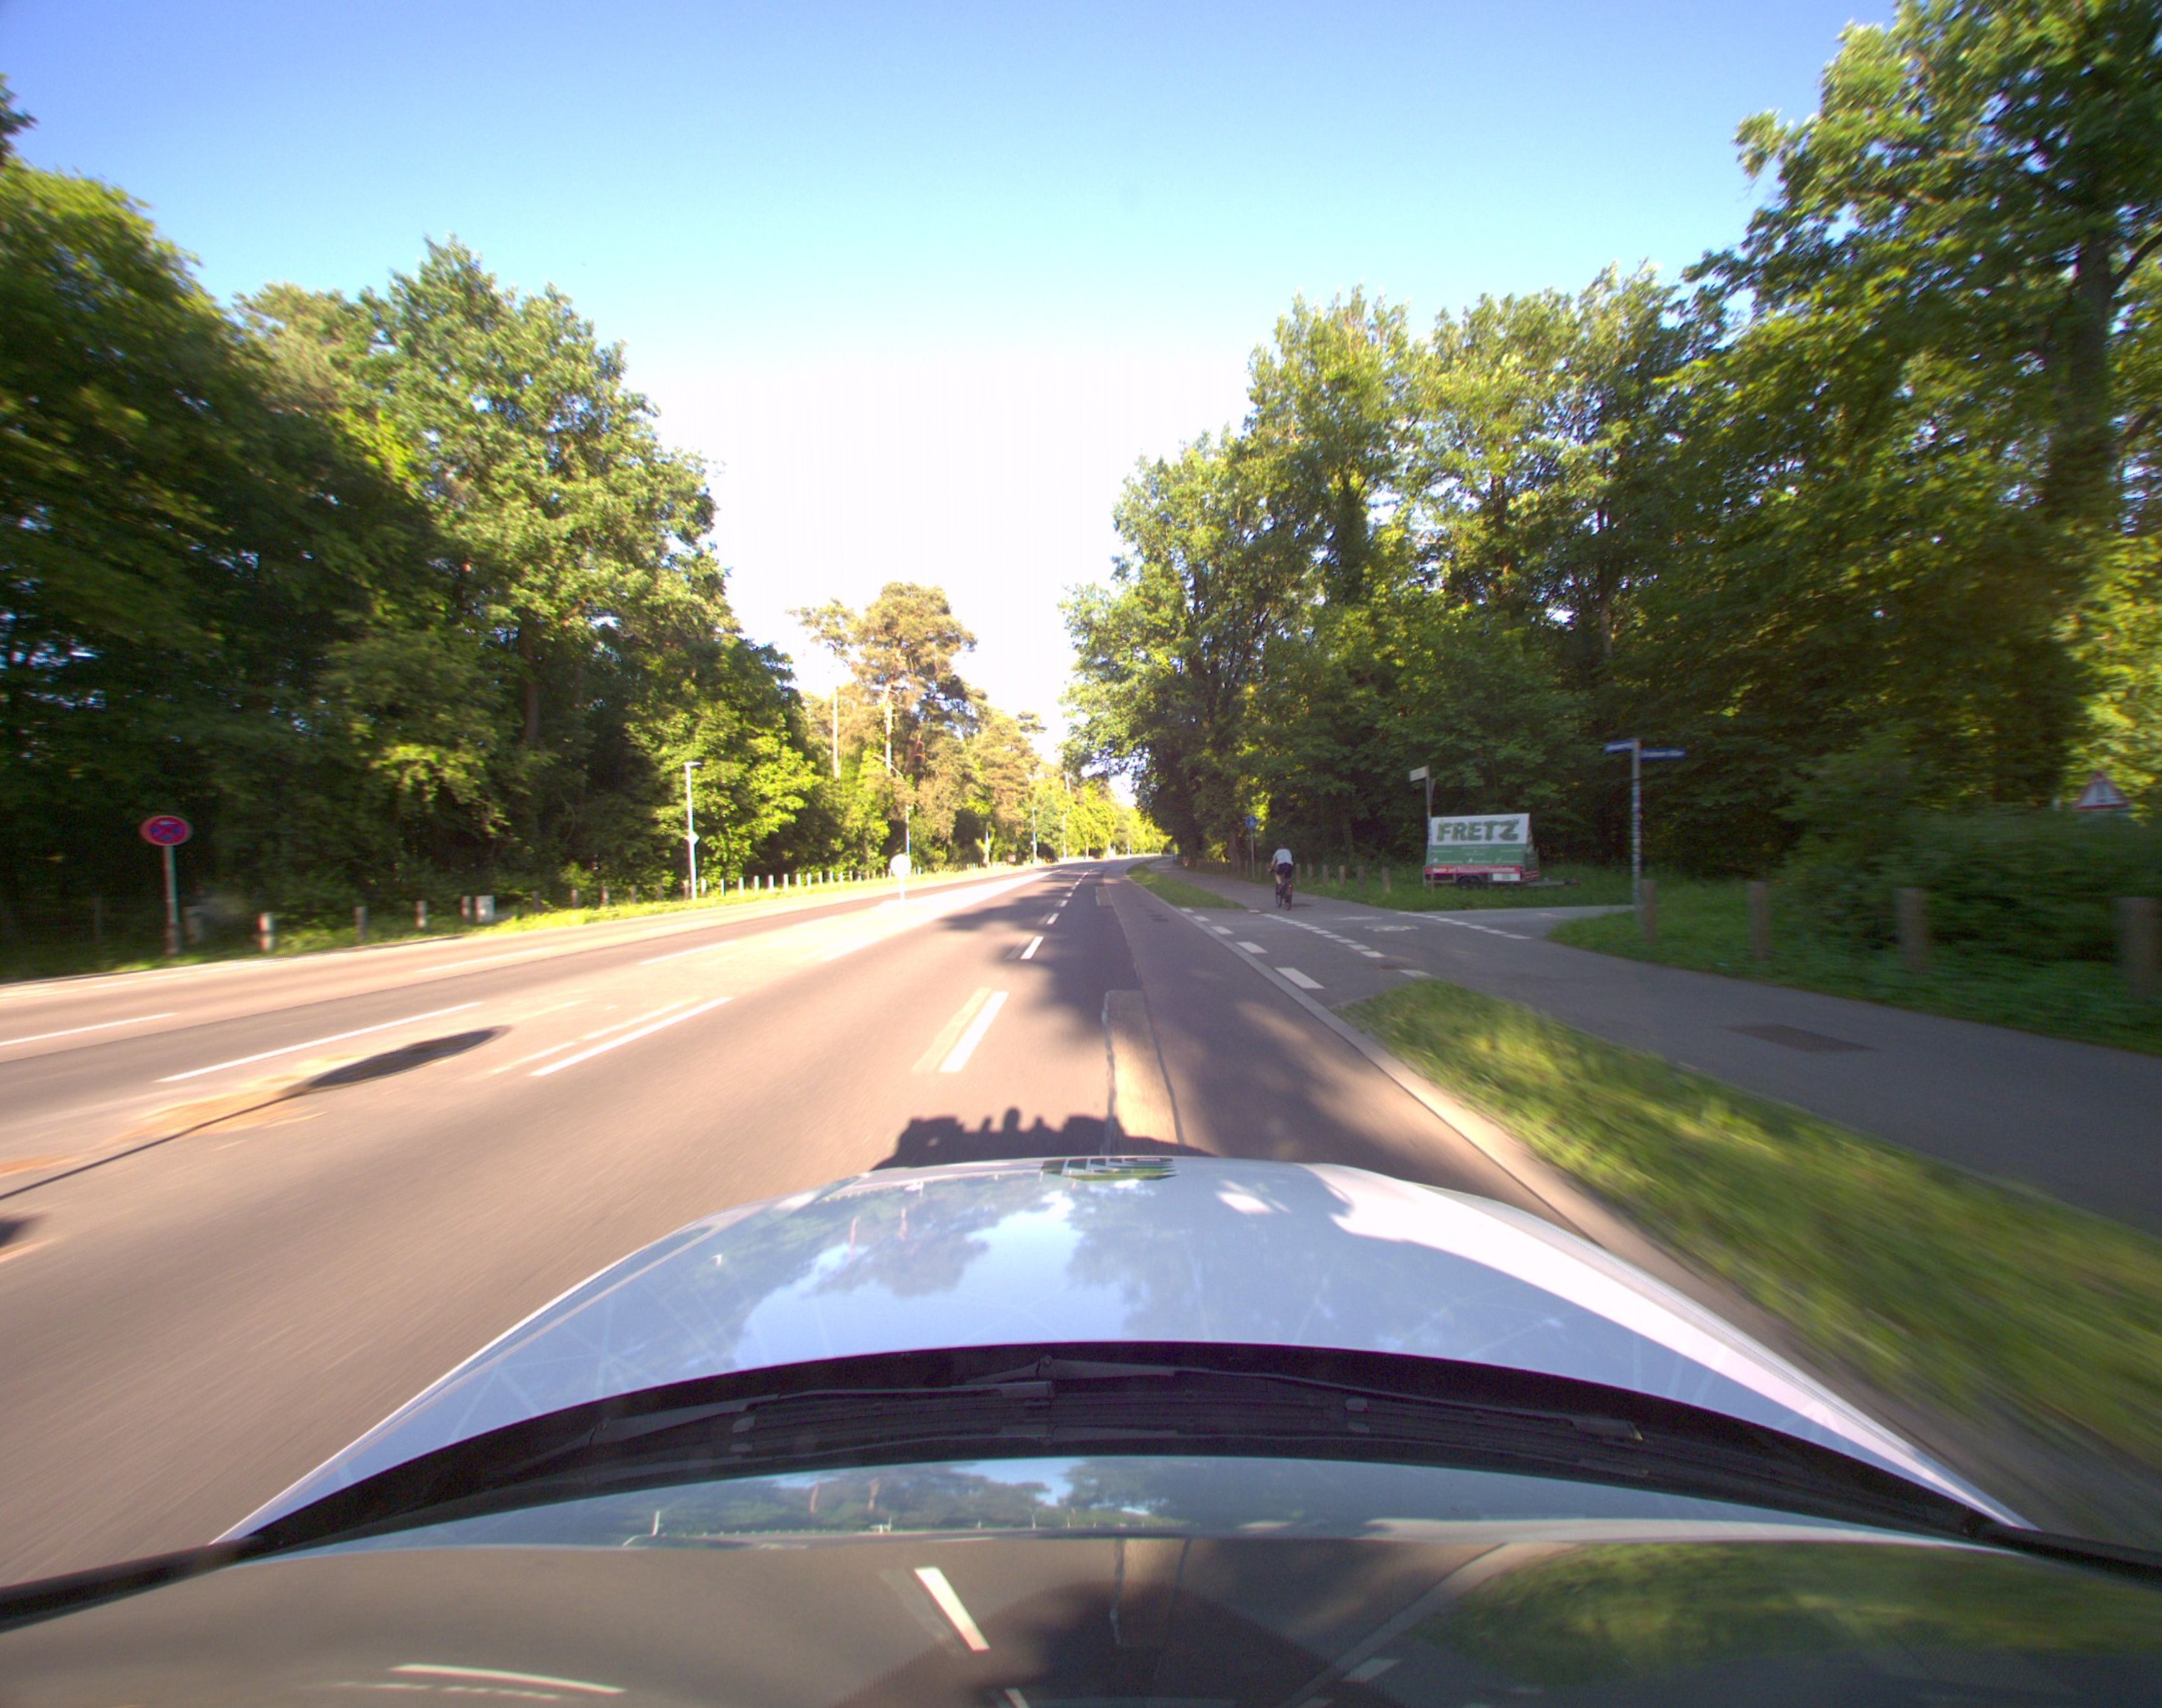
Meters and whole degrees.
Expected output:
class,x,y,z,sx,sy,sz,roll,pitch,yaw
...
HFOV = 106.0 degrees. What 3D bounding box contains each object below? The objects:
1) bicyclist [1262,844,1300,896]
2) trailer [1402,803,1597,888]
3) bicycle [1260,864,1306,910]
class,x,y,z,sx,sy,sz,roll,pitch,yaw
bicyclist,5.152,0.409,21.037,0.709,1.288,1.105,-2,0,1
trailer,10.959,-0.266,21.466,4.174,2.021,2.012,2,2,42
bicycle,5.155,0.819,20.907,0.709,1.056,2.054,-2,0,2
